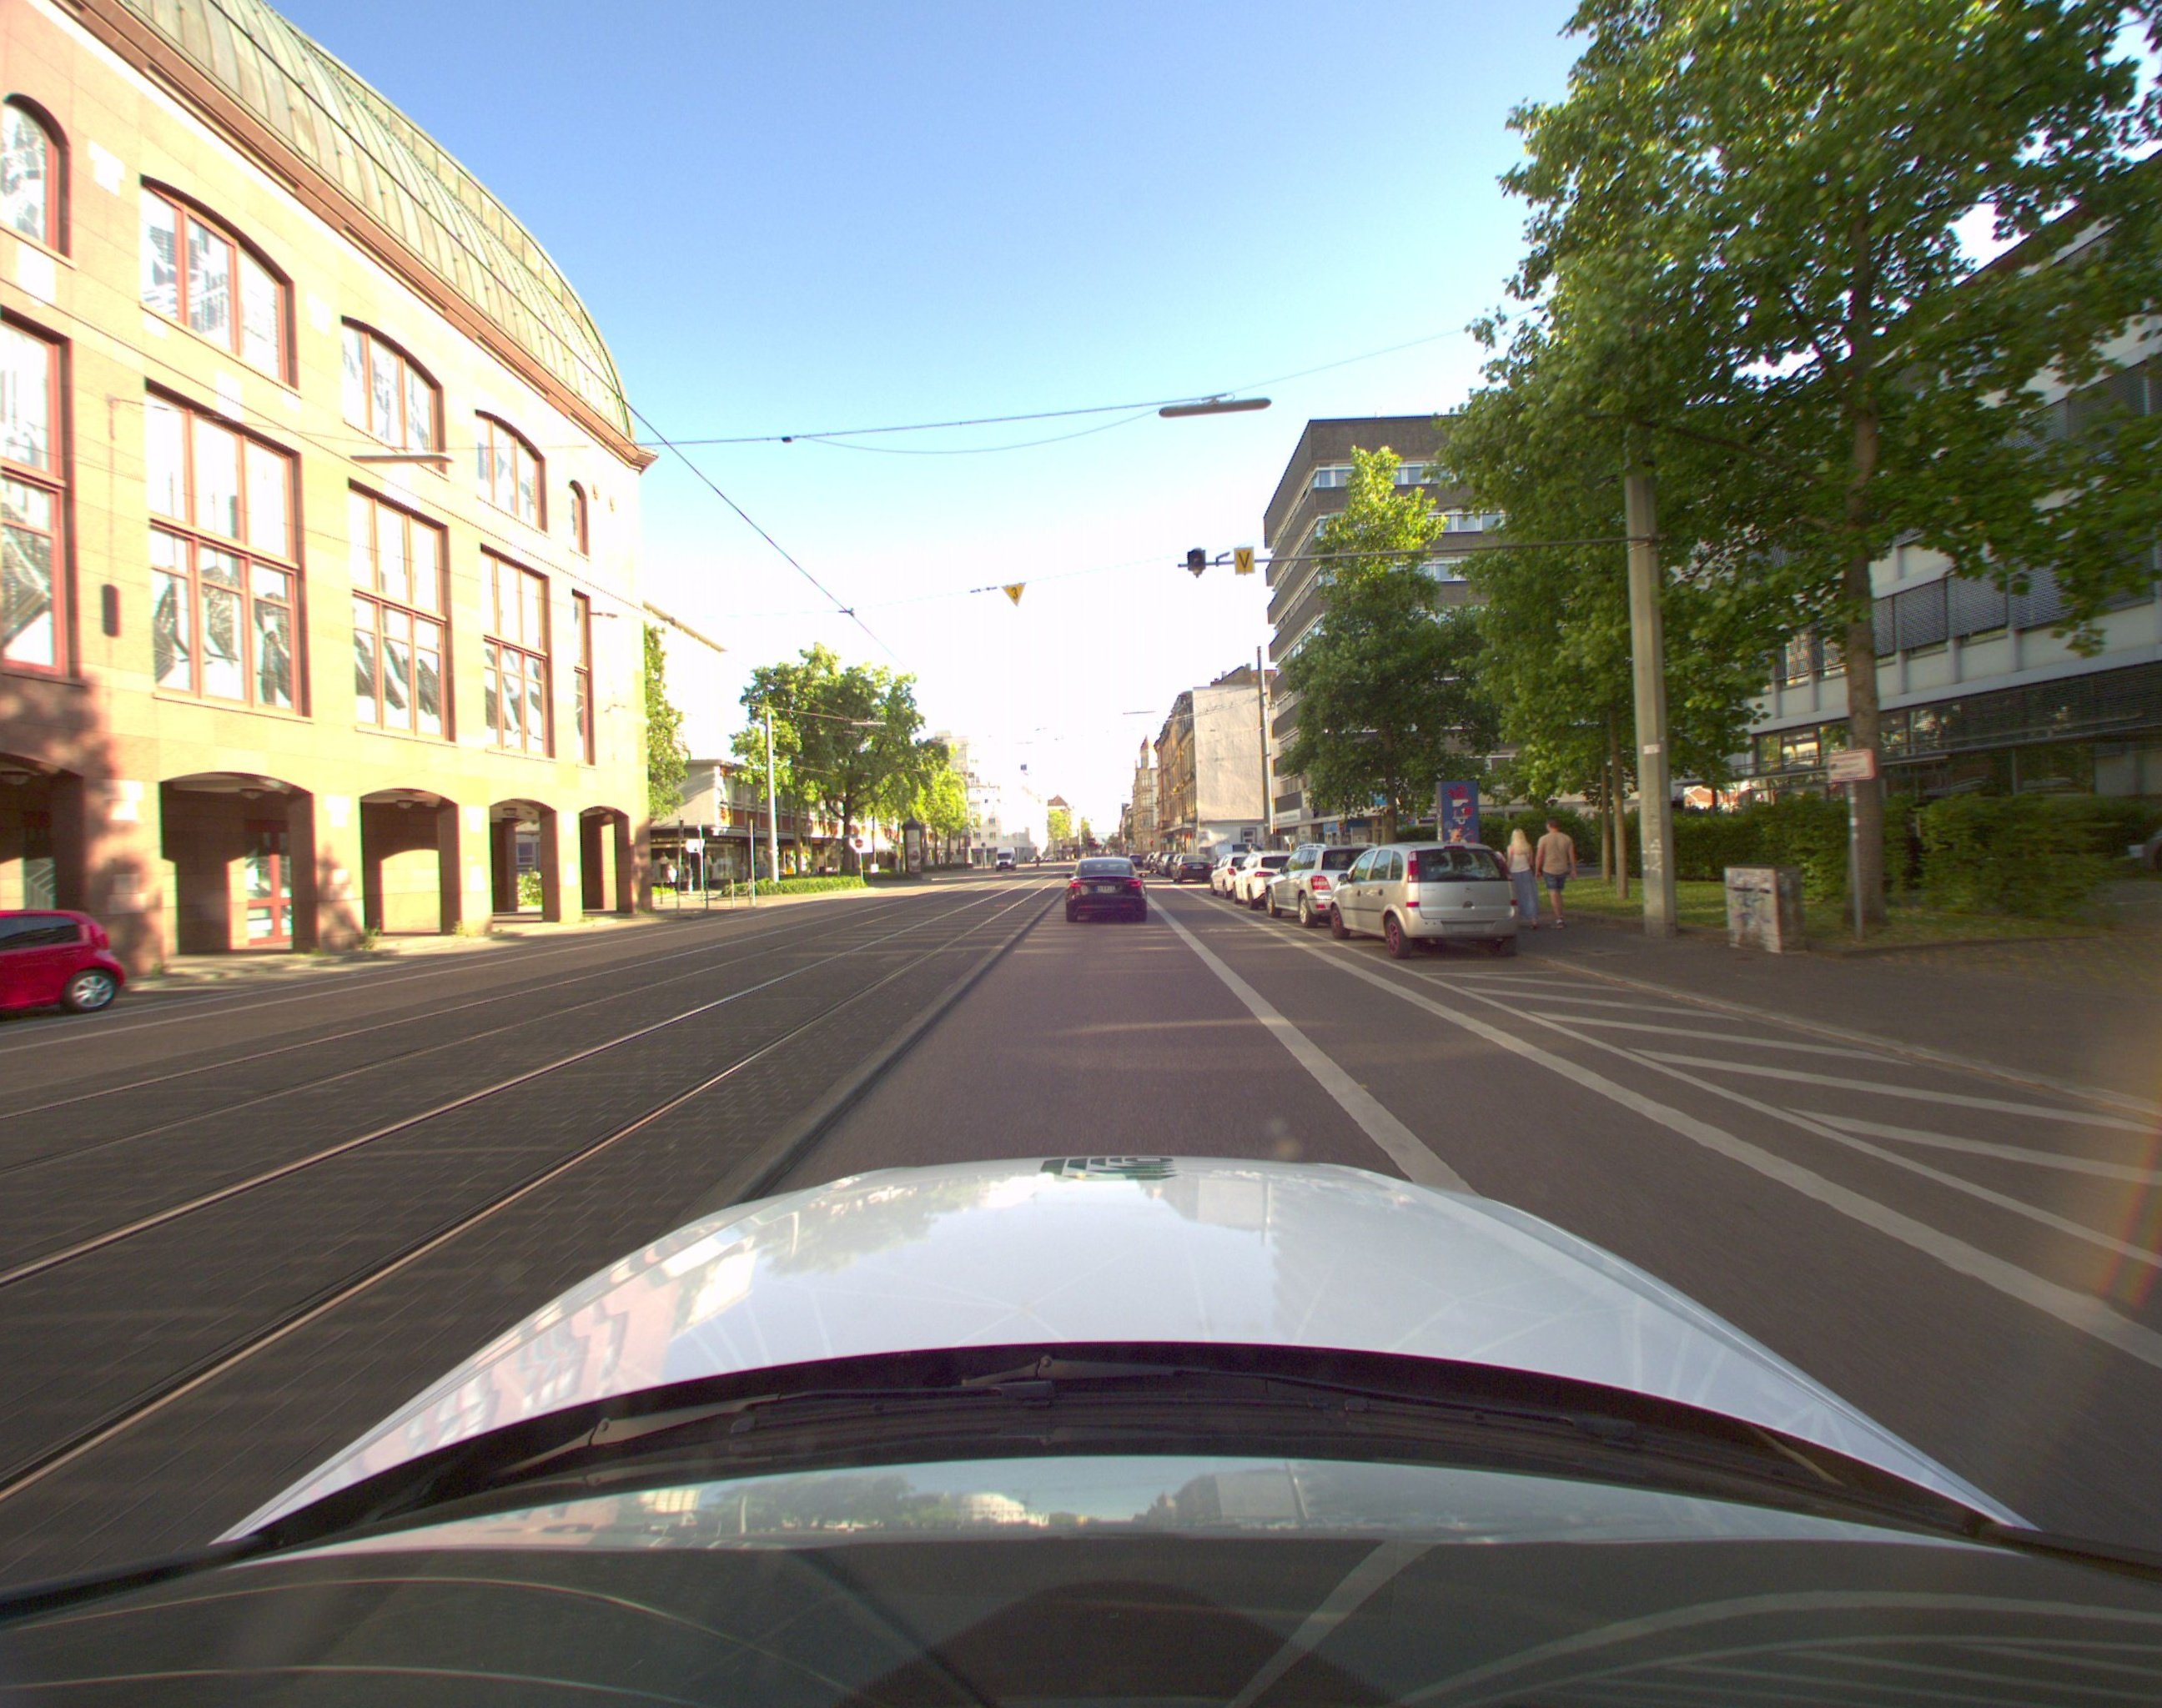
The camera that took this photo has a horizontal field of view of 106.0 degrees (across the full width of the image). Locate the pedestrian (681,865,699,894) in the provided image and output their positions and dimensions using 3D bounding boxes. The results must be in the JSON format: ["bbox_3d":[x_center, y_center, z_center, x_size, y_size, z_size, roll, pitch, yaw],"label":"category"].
[{"bbox_3d":[-23.435,1.536,48.807,0.517,1.694,0.714,-3,1,25],"label":"pedestrian"}]

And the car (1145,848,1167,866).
[{"bbox_3d":[6.782,0.249,74.133,1.708,1.472,3.722,-3,0,2],"label":"car"}]

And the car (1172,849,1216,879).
[{"bbox_3d":[5.748,0.477,41.783,1.704,1.457,4.552,-1,0,1],"label":"car"}]

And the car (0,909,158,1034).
[{"bbox_3d":[-14.271,1.539,10.004,1.653,1.422,3.621,-1,1,1],"label":"car"}]

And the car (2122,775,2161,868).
[{"bbox_3d":[18.871,-0.529,11.900,1.784,1.536,4.308,-2,2,-1],"label":"car"}]

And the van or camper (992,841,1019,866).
[{"bbox_3d":[-8.759,-0.064,95.019,2.132,2.654,6.882,-3,0,1],"label":"van or camper"}]

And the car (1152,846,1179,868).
[{"bbox_3d":[6.558,0.235,63.600,1.822,1.628,4.098,-2,0,2],"label":"car"}]

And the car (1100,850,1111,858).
[{"bbox_3d":[4.995,0.042,166.314,1.989,1.525,3.996,-1,0,-3],"label":"car"}]

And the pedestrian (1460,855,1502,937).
[{"bbox_3d":[7.023,0.730,14.311,0.453,1.398,0.423,-4,0,6],"label":"pedestrian"}]

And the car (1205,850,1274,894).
[{"bbox_3d":[5.469,0.579,28.469,1.597,1.443,3.883,0,0,-1],"label":"car"}]

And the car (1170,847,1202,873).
[{"bbox_3d":[6.126,0.342,47.911,1.572,1.447,3.311,-2,0,3],"label":"car"}]

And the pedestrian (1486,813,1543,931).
[{"bbox_3d":[7.501,0.301,14.126,0.462,1.954,0.749,-6,0,7],"label":"pedestrian"}]

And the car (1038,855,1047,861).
[{"bbox_3d":[-9.395,0.979,199.785,1.986,1.495,4.002,-3,0,2],"label":"car"}]

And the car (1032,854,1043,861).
[{"bbox_3d":[-9.324,0.805,174.403,1.986,1.368,4.002,-3,0,2],"label":"car"}]

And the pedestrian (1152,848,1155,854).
[{"bbox_3d":[13.491,-0.585,152.354,0.439,1.221,0.389,-3,0,0],"label":"pedestrian"}]

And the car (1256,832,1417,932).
[{"bbox_3d":[5.297,0.484,17.595,1.920,1.834,4.710,-1,1,-1],"label":"car"}]

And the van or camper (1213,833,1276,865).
[{"bbox_3d":[12.994,-0.375,64.872,4.621,2.136,1.990,-5,0,5],"label":"van or camper"}]

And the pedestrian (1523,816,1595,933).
[{"bbox_3d":[8.235,0.341,14.059,0.665,1.897,0.749,-6,0,6],"label":"pedestrian"}]

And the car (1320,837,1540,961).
[{"bbox_3d":[5.159,0.556,12.668,1.708,1.590,4.065,-1,1,0],"label":"car"}]

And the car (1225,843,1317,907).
[{"bbox_3d":[5.204,0.508,22.869,1.537,1.570,4.443,-1,1,0],"label":"car"}]

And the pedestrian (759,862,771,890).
[{"bbox_3d":[-21.103,1.457,54.389,0.545,1.801,0.587,-1,1,-8],"label":"pedestrian"}]

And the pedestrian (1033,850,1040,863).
[{"bbox_3d":[-5.911,0.380,108.088,0.839,1.695,0.798,-1,1,8],"label":"pedestrian"}]

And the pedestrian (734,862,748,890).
[{"bbox_3d":[-23.267,1.494,55.702,0.624,1.847,0.673,-1,1,-2],"label":"pedestrian"}]

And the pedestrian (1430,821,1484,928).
[{"bbox_3d":[6.598,0.348,14.306,0.608,1.808,0.603,-3,0,6],"label":"pedestrian"}]

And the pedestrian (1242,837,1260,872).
[{"bbox_3d":[9.140,0.012,43.703,0.719,1.812,0.889,-3,0,1],"label":"pedestrian"}]

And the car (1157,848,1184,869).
[{"bbox_3d":[6.393,0.327,58.570,1.573,1.443,3.914,-2,0,1],"label":"car"}]

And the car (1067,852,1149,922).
[{"bbox_3d":[0.590,0.697,19.118,1.714,1.405,3.710,-1,1,0],"label":"car"}]

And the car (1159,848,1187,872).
[{"bbox_3d":[5.990,0.385,53.455,1.456,1.432,3.814,-2,0,1],"label":"car"}]

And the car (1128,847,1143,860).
[{"bbox_3d":[6.133,-0.085,92.214,1.587,1.433,3.688,-3,0,2],"label":"car"}]

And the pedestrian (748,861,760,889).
[{"bbox_3d":[-21.796,1.410,54.323,0.590,1.872,0.537,-1,1,-8],"label":"pedestrian"}]

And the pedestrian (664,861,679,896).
[{"bbox_3d":[-25.137,1.488,50.001,0.607,2.066,0.660,-1,1,-44],"label":"pedestrian"}]

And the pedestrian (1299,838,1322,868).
[{"bbox_3d":[13.977,-0.067,49.600,1.143,1.728,1.050,-2,1,26],"label":"pedestrian"}]

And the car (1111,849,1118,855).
[{"bbox_3d":[9.160,-0.582,221.589,1.839,1.592,4.003,-3,1,2],"label":"car"}]
